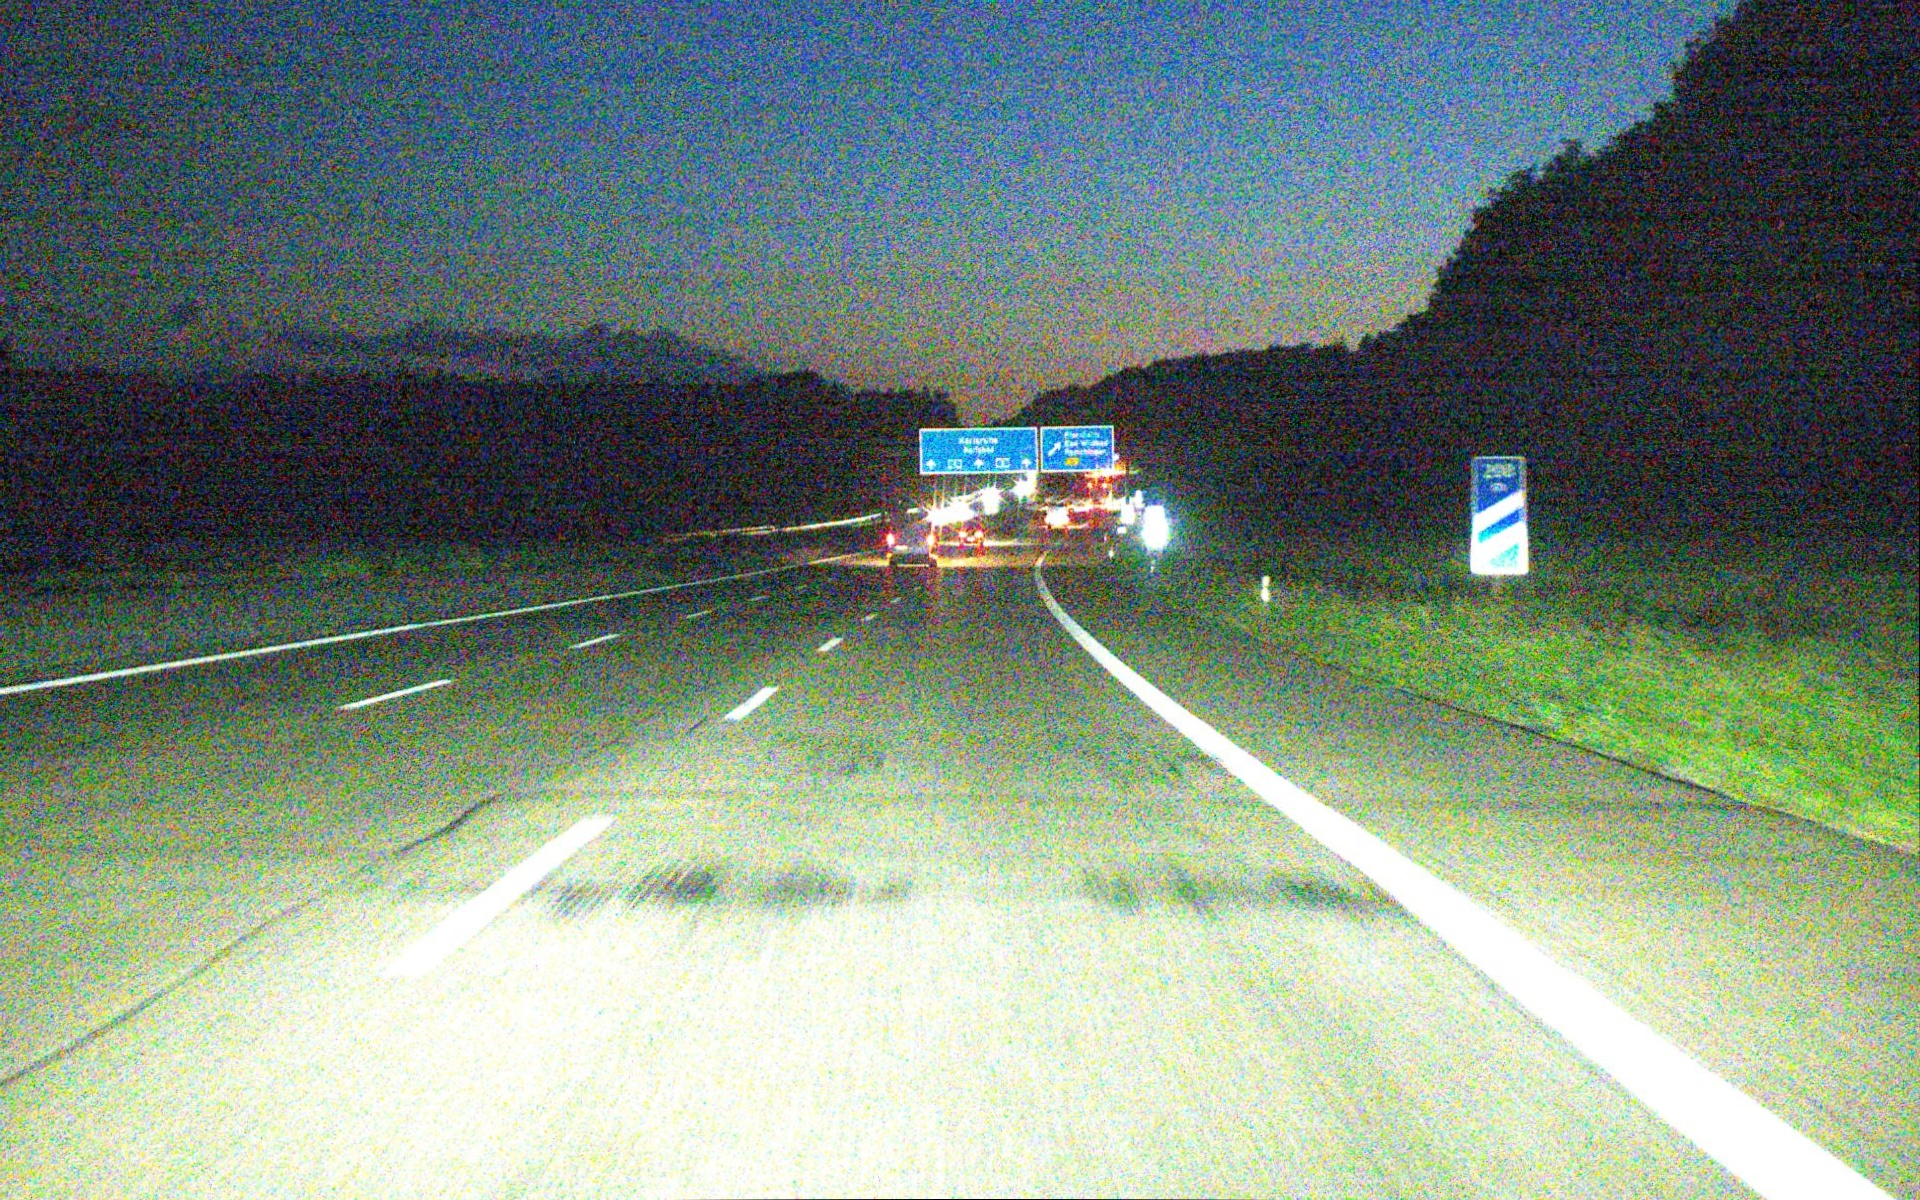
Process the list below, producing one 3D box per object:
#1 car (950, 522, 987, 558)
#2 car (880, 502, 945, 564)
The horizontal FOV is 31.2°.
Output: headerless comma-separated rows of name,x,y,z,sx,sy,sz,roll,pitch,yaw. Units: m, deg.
car,0.658,-4.549,262.148,2.786,2.724,6.299,0,1,0
car,-2.122,-3.022,155.356,2.786,2.724,6.299,0,1,0
